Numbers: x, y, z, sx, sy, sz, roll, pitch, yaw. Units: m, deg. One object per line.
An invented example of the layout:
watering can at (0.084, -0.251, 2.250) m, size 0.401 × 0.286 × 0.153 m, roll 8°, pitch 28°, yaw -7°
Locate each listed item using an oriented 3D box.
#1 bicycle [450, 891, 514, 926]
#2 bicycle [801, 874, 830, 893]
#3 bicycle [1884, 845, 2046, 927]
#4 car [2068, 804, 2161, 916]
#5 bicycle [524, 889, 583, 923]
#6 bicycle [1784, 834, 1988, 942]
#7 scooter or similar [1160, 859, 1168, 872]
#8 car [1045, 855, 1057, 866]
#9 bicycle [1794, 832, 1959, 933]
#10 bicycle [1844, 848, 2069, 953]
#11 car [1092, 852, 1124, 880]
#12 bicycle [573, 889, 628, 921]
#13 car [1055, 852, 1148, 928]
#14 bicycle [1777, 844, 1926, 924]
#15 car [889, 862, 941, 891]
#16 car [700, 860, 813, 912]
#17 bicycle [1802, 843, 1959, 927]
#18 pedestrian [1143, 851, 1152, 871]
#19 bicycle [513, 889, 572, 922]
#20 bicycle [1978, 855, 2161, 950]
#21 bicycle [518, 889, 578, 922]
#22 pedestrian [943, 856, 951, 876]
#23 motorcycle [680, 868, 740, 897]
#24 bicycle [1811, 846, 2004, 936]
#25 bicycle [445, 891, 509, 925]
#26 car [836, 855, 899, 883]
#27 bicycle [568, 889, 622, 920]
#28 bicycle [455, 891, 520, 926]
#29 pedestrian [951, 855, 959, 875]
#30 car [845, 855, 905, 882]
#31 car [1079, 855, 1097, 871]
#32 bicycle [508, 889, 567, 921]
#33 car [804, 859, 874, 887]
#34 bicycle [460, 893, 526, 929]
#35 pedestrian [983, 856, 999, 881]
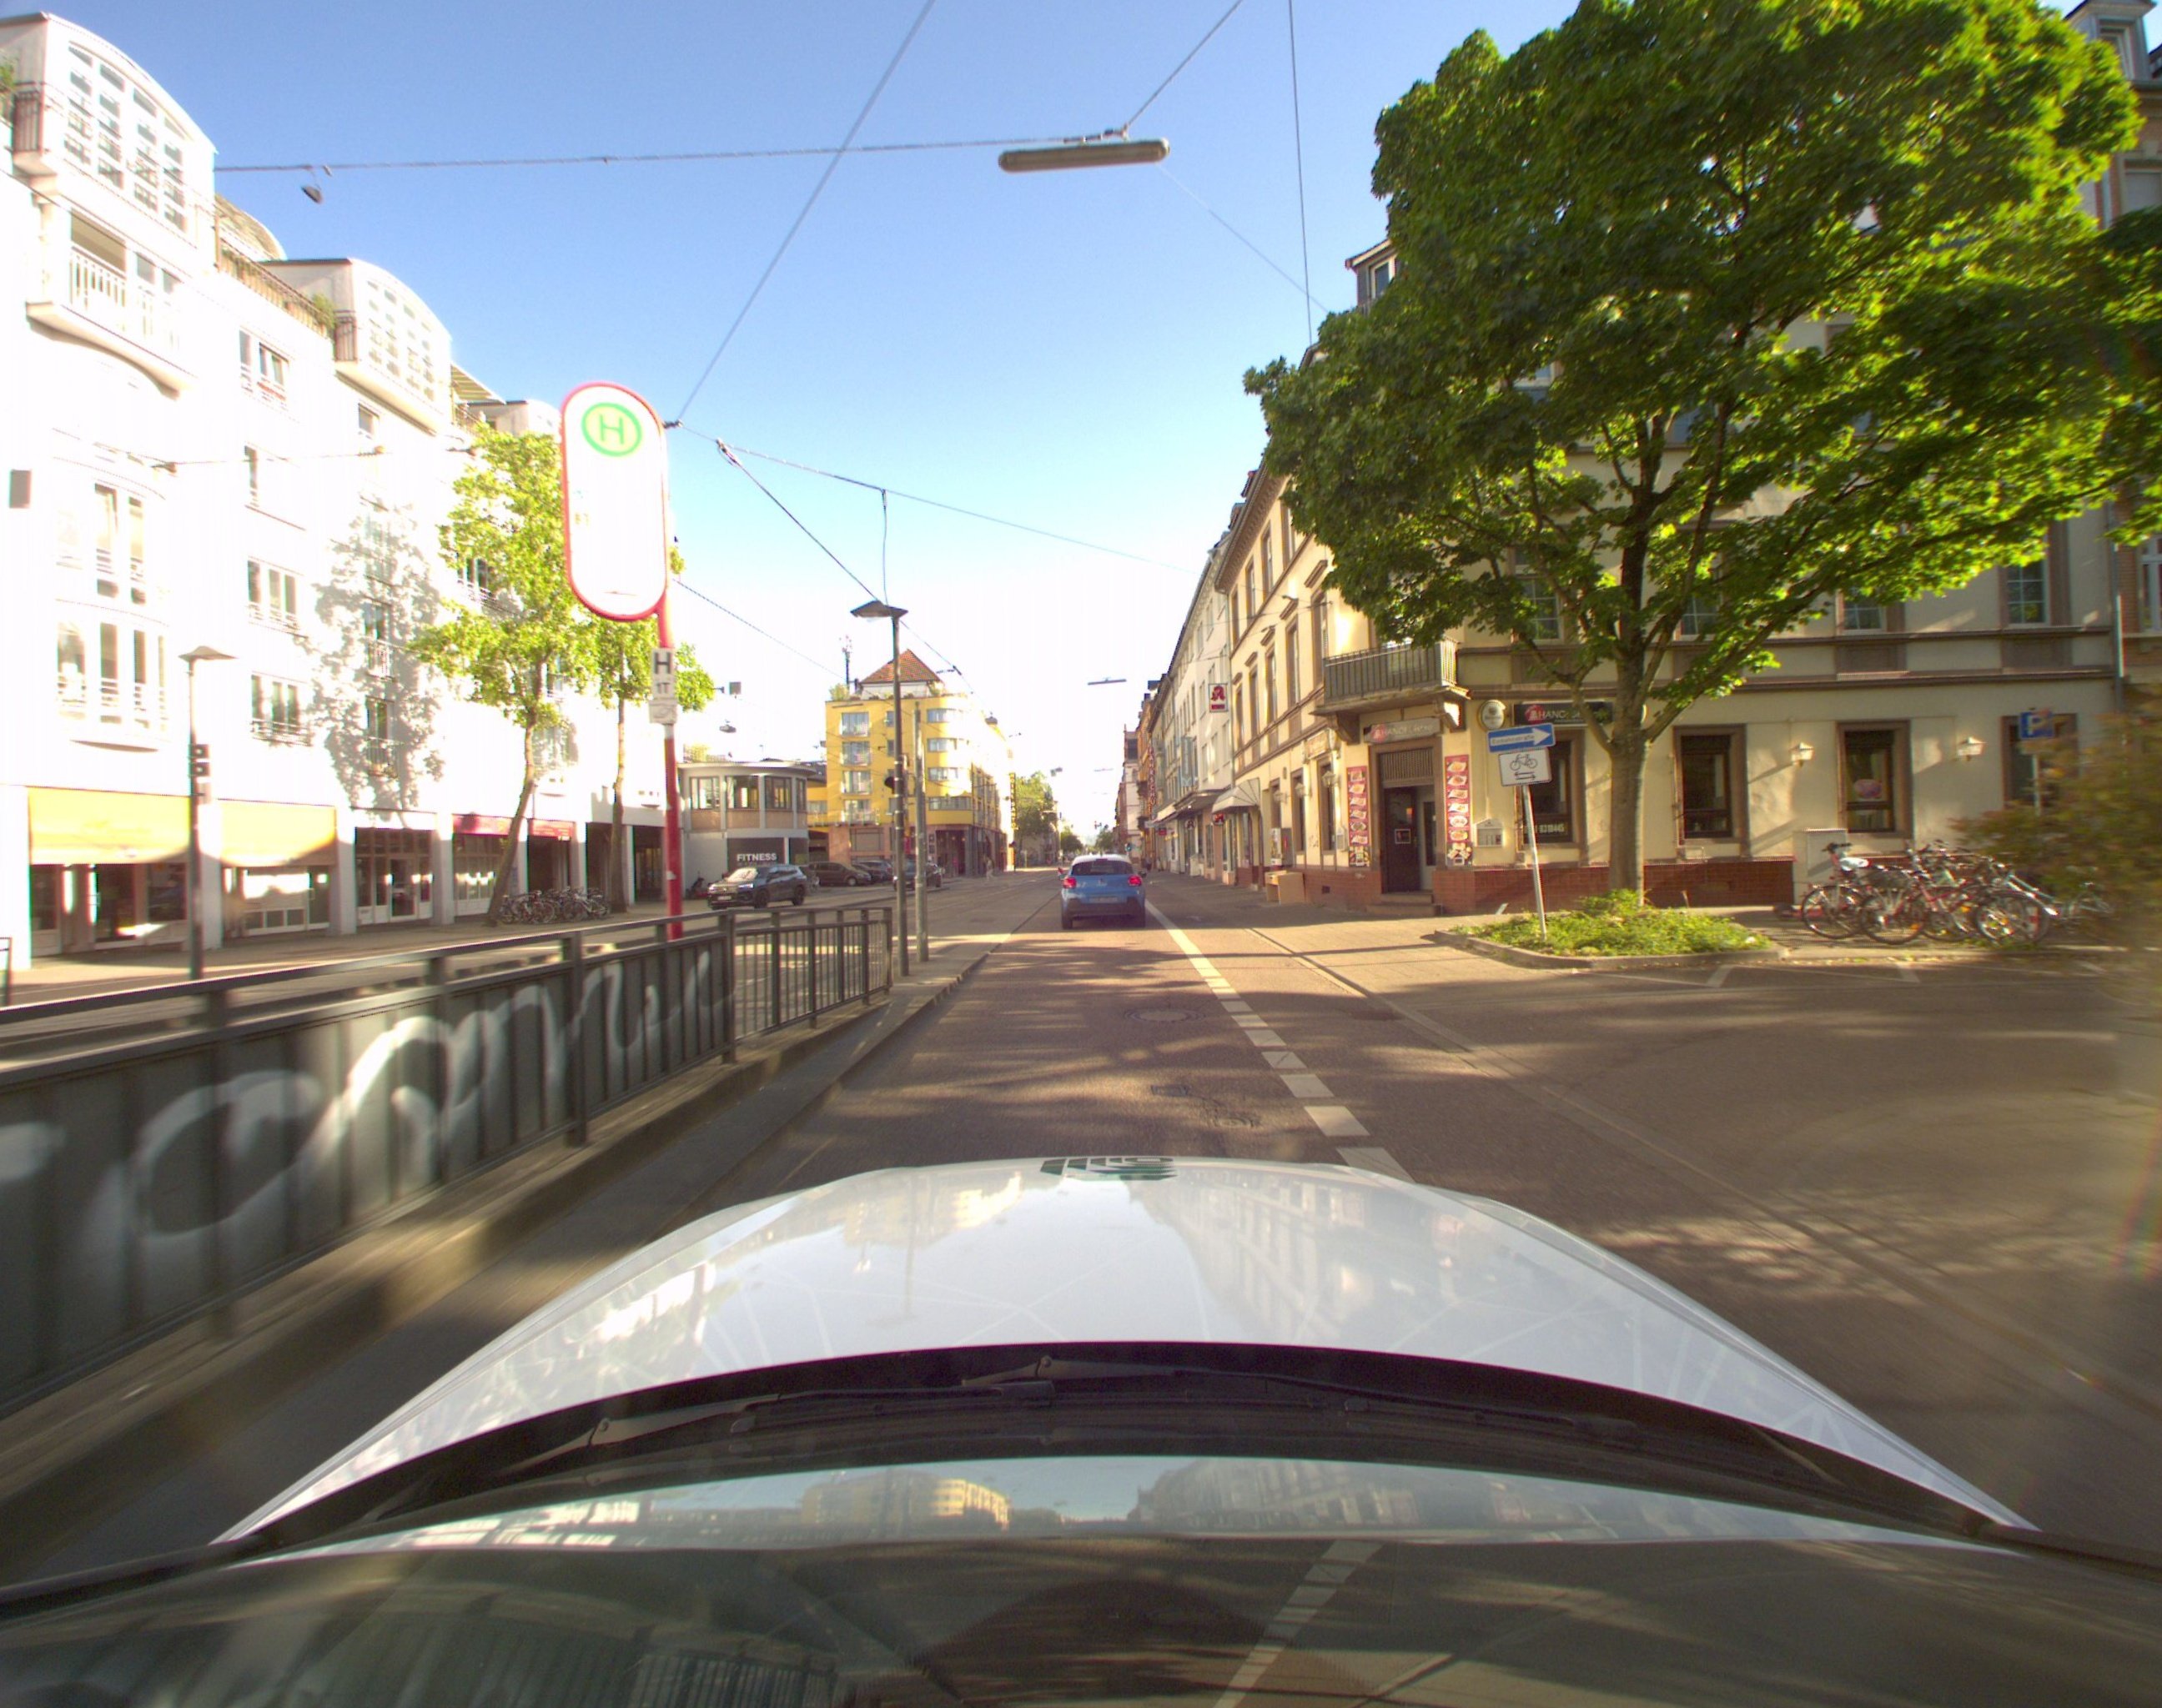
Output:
bicycle at (-18.178, 1.634, 24.732) m, size 0.387 × 0.941 × 1.505 m, roll -2°, pitch 0°, yaw 37°
bicycle at (-15.260, 1.686, 46.852) m, size 0.677 × 1.002 × 2.688 m, roll -2°, pitch 0°, yaw 3°
bicycle at (13.178, 0.448, 12.191) m, size 1.573 × 1.123 × 0.349 m, roll 1°, pitch 4°, yaw 35°
car at (15.541, 0.083, 10.888) m, size 1.686 × 1.511 × 3.837 m, roll 0°, pitch -1°, yaw 29°
bicycle at (-16.439, 1.605, 25.404) m, size 0.387 × 0.941 × 1.505 m, roll -2°, pitch 0°, yaw 37°
bicycle at (10.425, 0.404, 10.638) m, size 1.825 × 1.293 × 0.349 m, roll 1°, pitch 4°, yaw 35°
scooter or similar at (6.557, 0.912, 64.376) m, size 0.510 × 0.959 × 1.853 m, roll -2°, pitch 0°, yaw 3°
car at (-5.286, 1.169, 145.147) m, size 1.987 × 2.014 × 3.999 m, roll 0°, pitch -1°, yaw 0°
bicycle at (10.808, 0.354, 11.128) m, size 1.551 × 1.293 × 0.349 m, roll 1°, pitch 4°, yaw 35°
bicycle at (10.673, 0.537, 10.019) m, size 1.825 × 1.160 × 0.349 m, roll 1°, pitch 4°, yaw 35°
car at (1.769, 0.804, 53.777) m, size 1.986 × 1.743 × 4.001 m, roll 0°, pitch -1°, yaw 2°
bicycle at (-15.866, 1.665, 26.918) m, size 0.387 × 0.941 × 1.505 m, roll -2°, pitch 0°, yaw 37°
car at (0.453, 0.699, 17.476) m, size 1.774 × 1.451 × 3.655 m, roll 0°, pitch 0°, yaw 2°
bicycle at (11.648, 0.433, 12.370) m, size 1.573 × 1.123 × 0.349 m, roll 1°, pitch 4°, yaw 35°
car at (-9.454, 1.250, 46.666) m, size 1.943 × 1.486 × 4.003 m, roll -3°, pitch 0°, yaw 2°
car at (-11.818, 1.115, 30.065) m, size 1.744 × 1.615 × 4.835 m, roll -3°, pitch 0°, yaw 6°
bicycle at (11.614, 0.424, 11.887) m, size 1.573 × 1.123 × 0.349 m, roll 1°, pitch 4°, yaw 35°
pedestrian at (5.601, 0.548, 68.337) m, size 0.690 × 1.651 × 0.680 m, roll -2°, pitch 0°, yaw 0°
bicycle at (-17.110, 1.609, 25.916) m, size 0.387 × 0.941 × 1.505 m, roll -2°, pitch 0°, yaw 37°
bicycle at (12.245, 0.569, 10.046) m, size 1.512 × 1.068 × 0.349 m, roll 1°, pitch 4°, yaw 35°
bicycle at (-16.782, 1.610, 25.663) m, size 0.387 × 0.941 × 1.505 m, roll -2°, pitch 0°, yaw 37°
pedestrian at (-12.892, 1.159, 78.544) m, size 0.695 × 1.830 × 0.837 m, roll -1°, pitch 0°, yaw -11°
motorcycle at (-17.794, 1.354, 39.066) m, size 2.506 × 1.288 × 0.668 m, roll -2°, pitch 0°, yaw -2°
bicycle at (11.412, 0.480, 11.328) m, size 1.825 × 1.123 × 0.349 m, roll 2°, pitch 4°, yaw 35°
bicycle at (-18.538, 1.647, 25.006) m, size 0.387 × 0.941 × 1.505 m, roll -2°, pitch 0°, yaw 37°
car at (-15.256, 1.054, 58.411) m, size 3.977 × 1.848 × 1.956 m, roll -2°, pitch 0°, yaw -2°
bicycle at (-16.224, 1.671, 27.199) m, size 0.387 × 0.941 × 1.505 m, roll -2°, pitch 0°, yaw 37°
bicycle at (-17.816, 1.619, 24.466) m, size 0.387 × 0.941 × 1.505 m, roll -2°, pitch 0°, yaw 37°
pedestrian at (-12.138, 1.031, 78.455) m, size 0.695 × 1.858 × 0.837 m, roll -1°, pitch 0°, yaw -11°
car at (-15.418, 1.067, 61.212) m, size 3.977 × 1.848 × 1.956 m, roll -2°, pitch 0°, yaw -2°
car at (0.842, 1.086, 93.996) m, size 1.986 × 1.743 × 4.001 m, roll 0°, pitch -1°, yaw 2°
bicycle at (-17.447, 1.625, 26.165) m, size 0.387 × 0.941 × 1.505 m, roll -2°, pitch 0°, yaw 37°
car at (-15.833, 1.221, 53.475) m, size 3.977 × 1.674 × 1.956 m, roll -2°, pitch 0°, yaw -2°
bicycle at (-17.426, 1.674, 24.164) m, size 0.387 × 0.941 × 1.505 m, roll -2°, pitch 0°, yaw 37°
pedestrian at (-6.236, 1.000, 56.427) m, size 0.842 × 1.654 × 0.691 m, roll -1°, pitch 0°, yaw -27°
